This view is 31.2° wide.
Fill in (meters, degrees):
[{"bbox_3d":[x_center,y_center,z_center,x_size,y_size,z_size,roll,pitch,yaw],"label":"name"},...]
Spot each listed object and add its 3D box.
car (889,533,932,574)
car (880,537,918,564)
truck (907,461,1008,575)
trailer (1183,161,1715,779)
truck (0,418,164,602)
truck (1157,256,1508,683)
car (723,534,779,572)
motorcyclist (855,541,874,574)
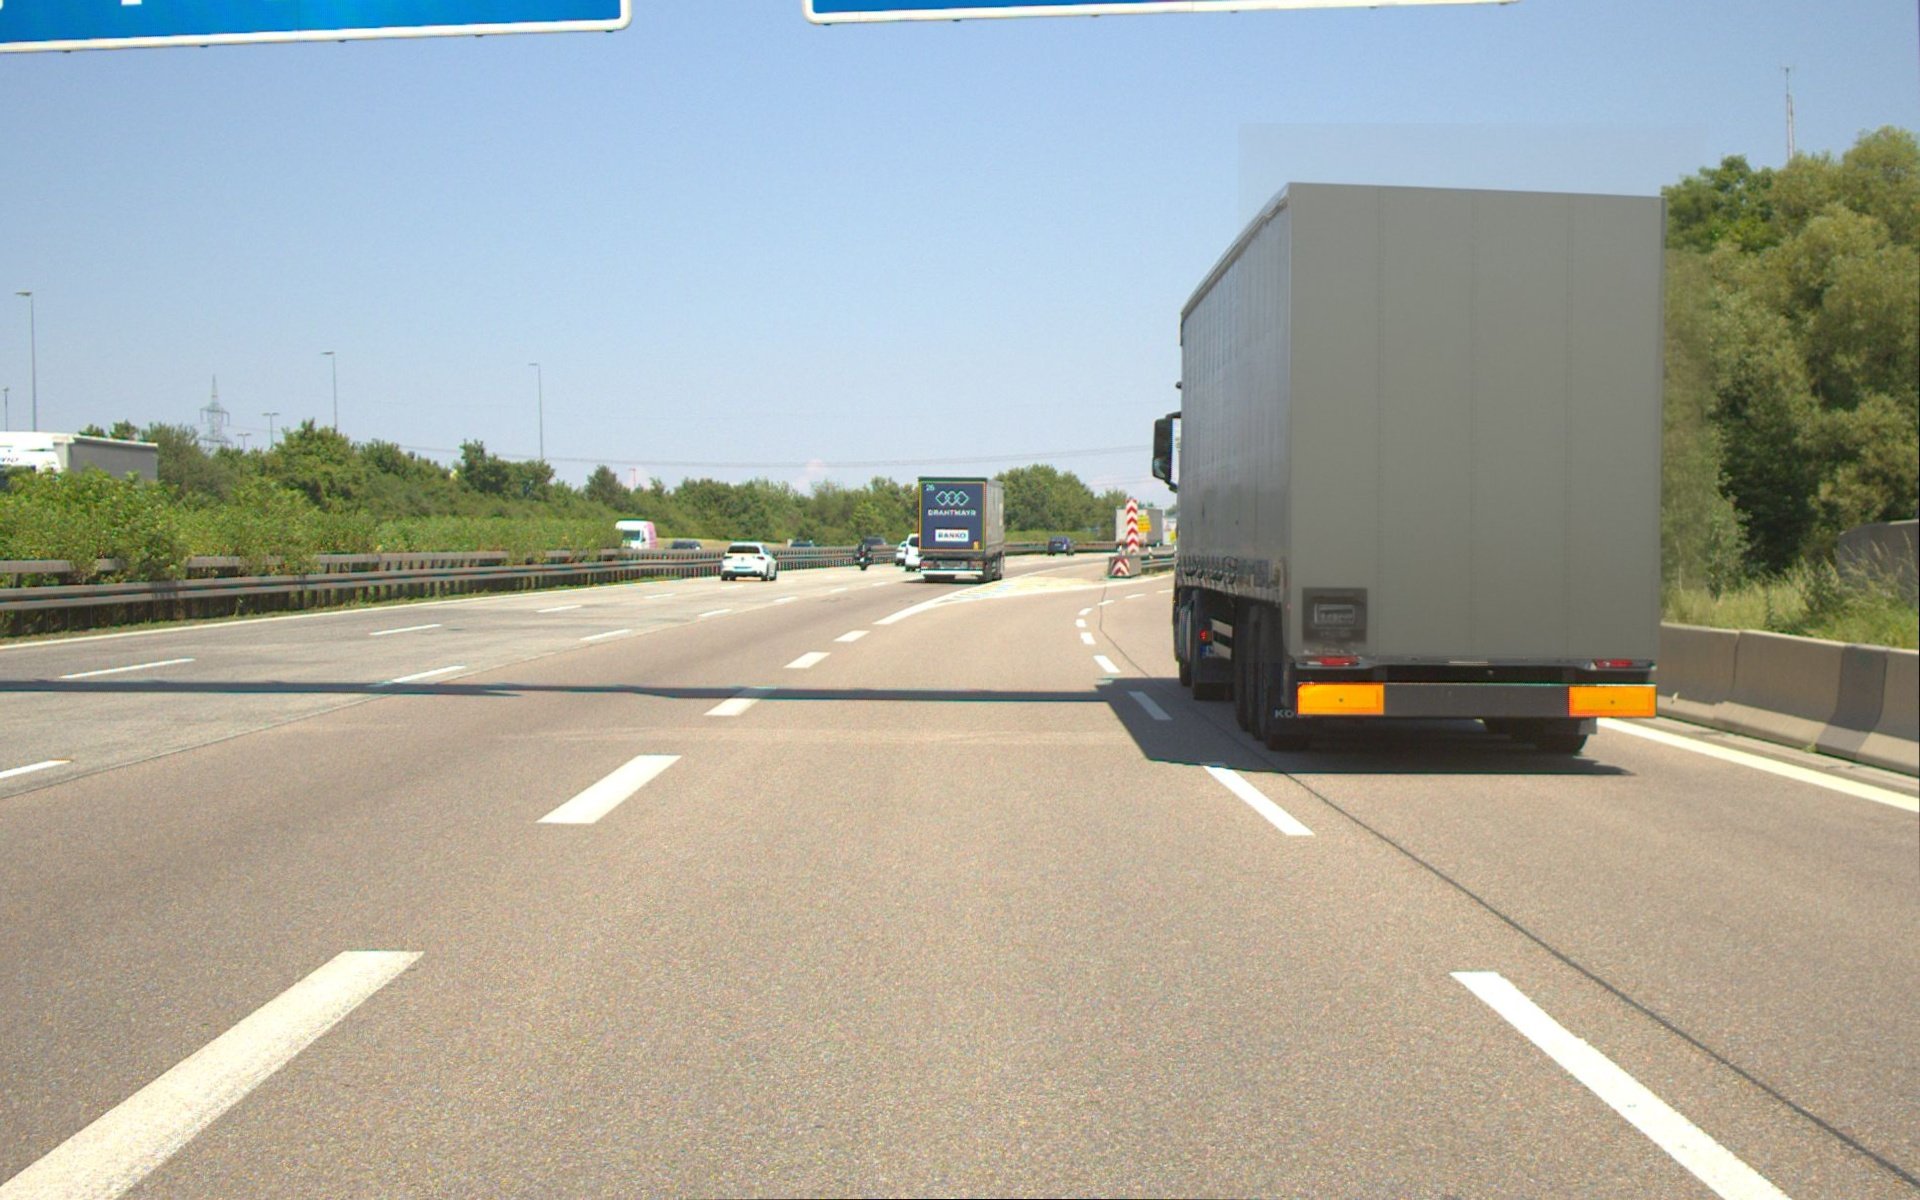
[{"bbox_3d":[-2.424,-2.300,170.468,1.930,1.845,4.692,-1,-1,1],"label":"car"},{"bbox_3d":[-3.566,-2.884,200.641,1.876,1.436,5.125,0,0,3],"label":"car"},{"bbox_3d":[-0.083,-3.216,136.306,3.747,4.255,14.496,1,1,0],"label":"truck"},{"bbox_3d":[3.582,-1.067,28.419,2.928,4.001,12.039,0,2,1],"label":"trailer"},{"bbox_3d":[-22.142,-2.165,83.999,2.753,4.193,10.403,1,1,1],"label":"truck"},{"bbox_3d":[3.733,-1.372,36.238,2.928,4.001,7.584,0,2,1],"label":"truck"},{"bbox_3d":[-7.850,-1.755,129.387,1.782,1.435,4.669,0,0,1],"label":"car"},{"bbox_3d":[-4.783,-2.121,171.636,0.893,1.591,1.299,0,0,0],"label":"motorcyclist"}]
